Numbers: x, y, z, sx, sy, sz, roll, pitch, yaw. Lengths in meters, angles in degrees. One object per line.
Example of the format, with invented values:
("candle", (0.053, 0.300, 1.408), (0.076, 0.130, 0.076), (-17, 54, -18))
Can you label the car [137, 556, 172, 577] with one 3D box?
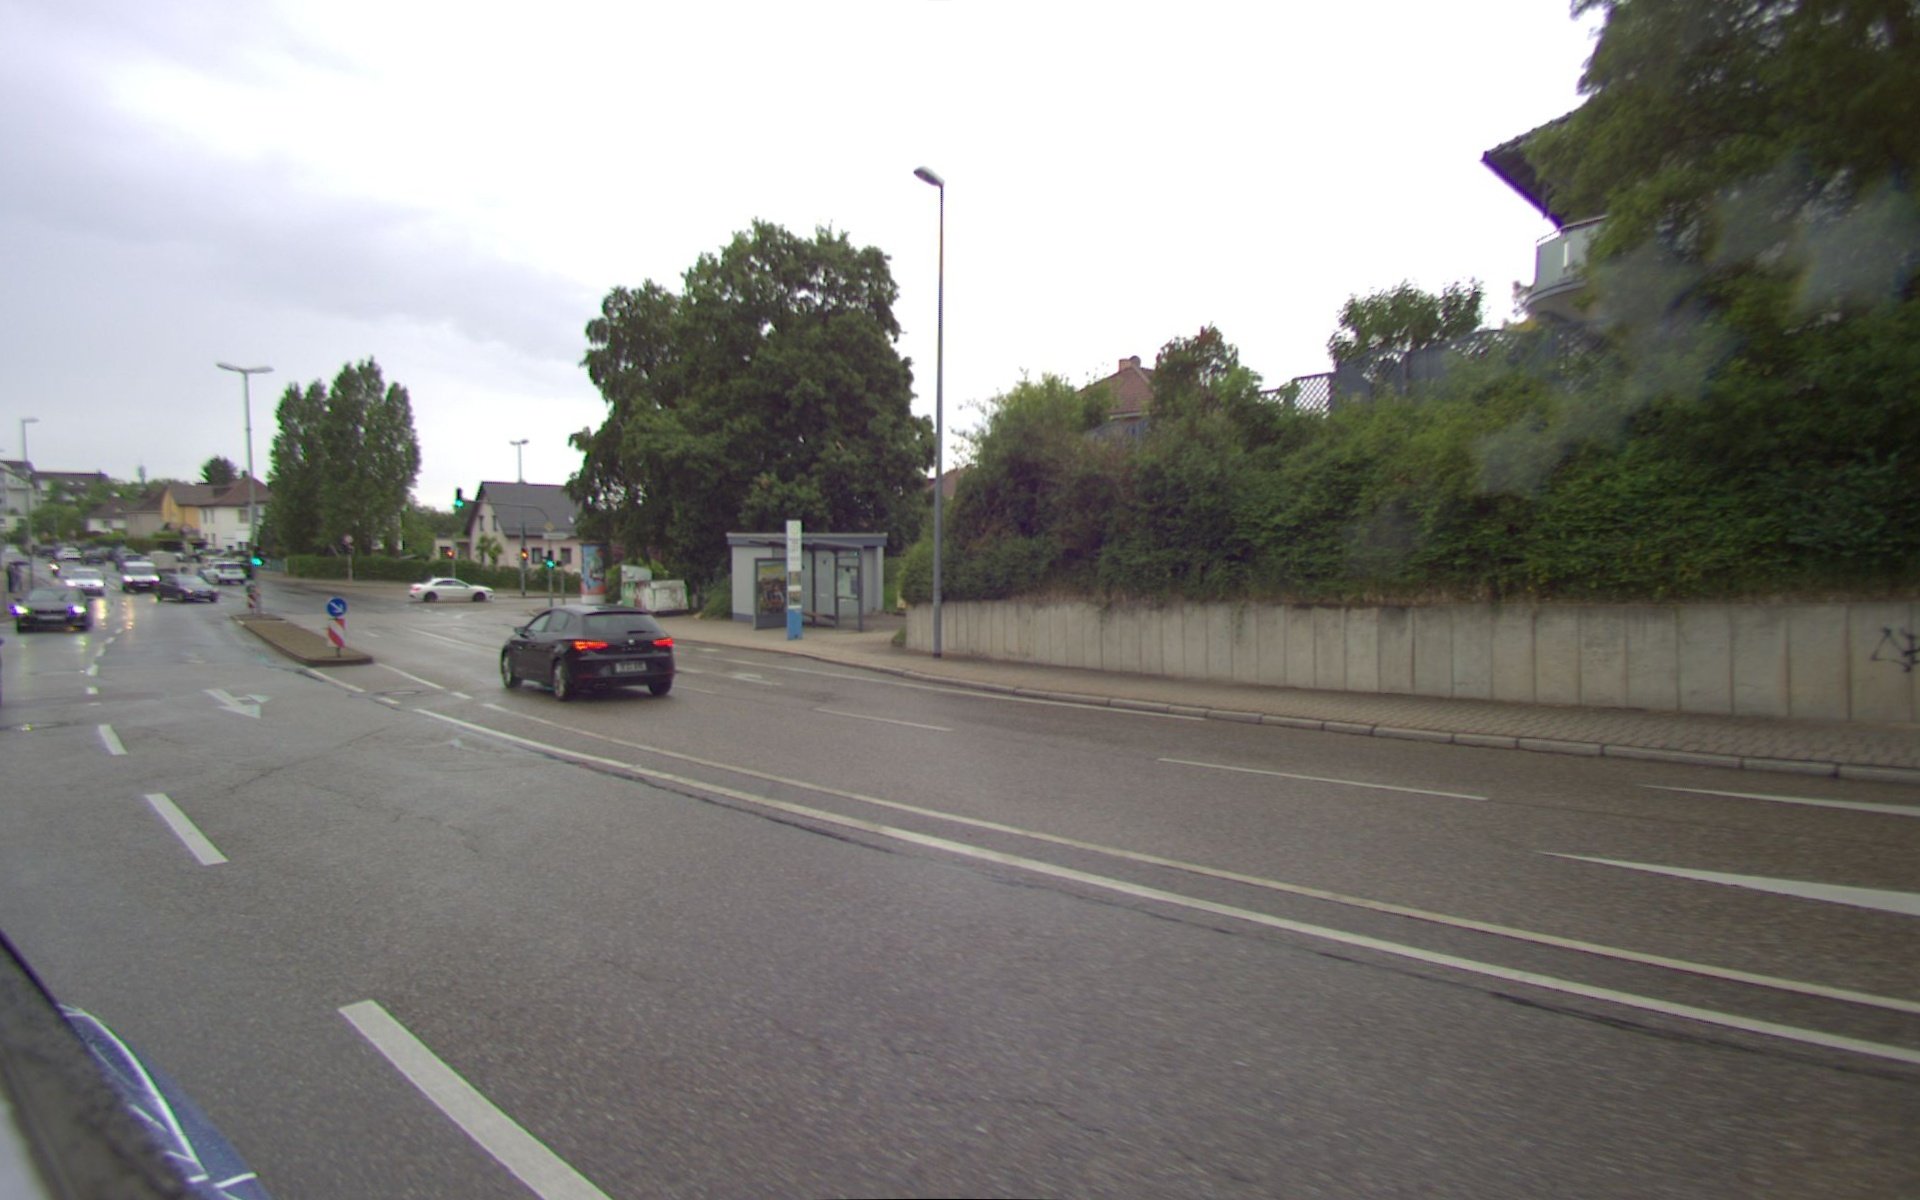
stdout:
("car", (-69.615, -2.894, 87.425), (1.878, 1.695, 4.483), (-2, 4, -45))

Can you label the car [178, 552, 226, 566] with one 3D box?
("car", (-84.983, -4.642, 113.504), (1.884, 1.430, 4.056), (4, 6, 42))

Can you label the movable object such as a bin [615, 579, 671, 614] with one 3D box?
("movable object such as a bin", (-14.470, -0.178, 46.237), (2.030, 1.580, 1.585), (-1, 1, -36))

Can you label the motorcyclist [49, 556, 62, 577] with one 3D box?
("motorcyclist", (-72.012, -2.692, 80.550), (0.751, 1.614, 0.809), (-1, 4, -44))

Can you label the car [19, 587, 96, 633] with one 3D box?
("car", (-31.246, 0.355, 35.130), (1.813, 1.468, 4.007), (-1, 0, -39))

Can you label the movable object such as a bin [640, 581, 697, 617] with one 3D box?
("movable object such as a bin", (-12.622, -0.052, 43.766), (2.030, 1.526, 1.347), (-1, 1, -36))

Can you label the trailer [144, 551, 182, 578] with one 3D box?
("trailer", (-66.551, -2.943, 84.460), (4.036, 2.195, 1.876), (3, 3, 43))

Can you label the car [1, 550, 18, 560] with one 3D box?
("car", (-162.416, -7.750, 172.949), (4.000, 1.541, 1.813), (4, 3, 43))

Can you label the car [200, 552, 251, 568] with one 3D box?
("car", (-77.479, -4.252, 106.772), (1.884, 1.430, 3.945), (4, 7, 42))

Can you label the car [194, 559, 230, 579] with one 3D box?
("car", (-65.258, -2.739, 88.324), (4.143, 1.580, 1.785), (5, 5, 43))

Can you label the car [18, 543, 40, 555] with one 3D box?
("car", (-120.937, -6.628, 131.449), (3.999, 1.513, 1.694), (4, 4, 42))

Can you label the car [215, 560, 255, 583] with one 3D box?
("car", (-60.203, -2.413, 83.988), (4.599, 1.681, 1.785), (5, 5, 43))

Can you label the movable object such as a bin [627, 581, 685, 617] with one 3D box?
("movable object such as a bin", (-13.504, -0.072, 44.960), (2.030, 1.580, 1.585), (-1, 1, -36))

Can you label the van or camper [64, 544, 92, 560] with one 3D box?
("van or camper", (-116.094, -6.335, 133.177), (5.133, 2.028, 2.161), (5, 4, 41))

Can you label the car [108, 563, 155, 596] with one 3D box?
("car", (-52.886, -1.327, 64.537), (1.928, 1.884, 4.751), (-1, 4, -44))

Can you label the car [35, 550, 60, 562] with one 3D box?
("car", (-114.104, -5.492, 126.554), (3.999, 1.475, 1.834), (3, 4, 41))

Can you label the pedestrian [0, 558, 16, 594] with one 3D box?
("pedestrian", (-55.284, -1.403, 58.646), (0.787, 2.028, 0.735), (-2, 4, -41))

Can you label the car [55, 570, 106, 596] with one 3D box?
("car", (-52.680, -1.025, 60.579), (3.999, 1.492, 1.816), (2, 2, 42))

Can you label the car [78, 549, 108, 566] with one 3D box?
("car", (-91.410, -4.504, 106.702), (4.001, 1.585, 1.972), (5, 4, 43))

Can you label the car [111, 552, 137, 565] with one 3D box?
("car", (-95.666, -4.730, 115.841), (4.000, 1.426, 1.785), (4, 3, 43))

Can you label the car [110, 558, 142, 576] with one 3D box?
("car", (-77.741, -3.090, 94.324), (4.385, 1.563, 1.821), (3, 3, 43))

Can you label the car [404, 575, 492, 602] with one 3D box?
("car", (-31.028, -0.722, 61.379), (4.573, 1.539, 1.920), (-1, 4, -33))

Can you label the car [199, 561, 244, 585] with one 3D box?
("car", (-55.478, -2.014, 76.011), (4.465, 1.669, 1.804), (3, 3, 41))

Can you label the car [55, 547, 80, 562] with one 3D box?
("car", (-102.552, -5.213, 116.215), (4.773, 1.567, 1.815), (5, 4, 45))

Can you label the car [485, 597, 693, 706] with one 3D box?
("car", (-6.164, 0.716, 16.527), (1.868, 1.498, 4.241), (-1, 1, -40))

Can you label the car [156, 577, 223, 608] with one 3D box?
("car", (-43.224, -0.429, 56.747), (4.050, 1.498, 1.819), (3, 4, 35))

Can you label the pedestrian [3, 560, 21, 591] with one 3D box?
("pedestrian", (-56.465, -1.468, 60.282), (0.784, 1.793, 1.013), (0, 3, -41))

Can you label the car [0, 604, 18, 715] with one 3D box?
("car", (-13.355, 0.799, 12.781), (1.812, 1.408, 4.008), (0, 1, -39))
